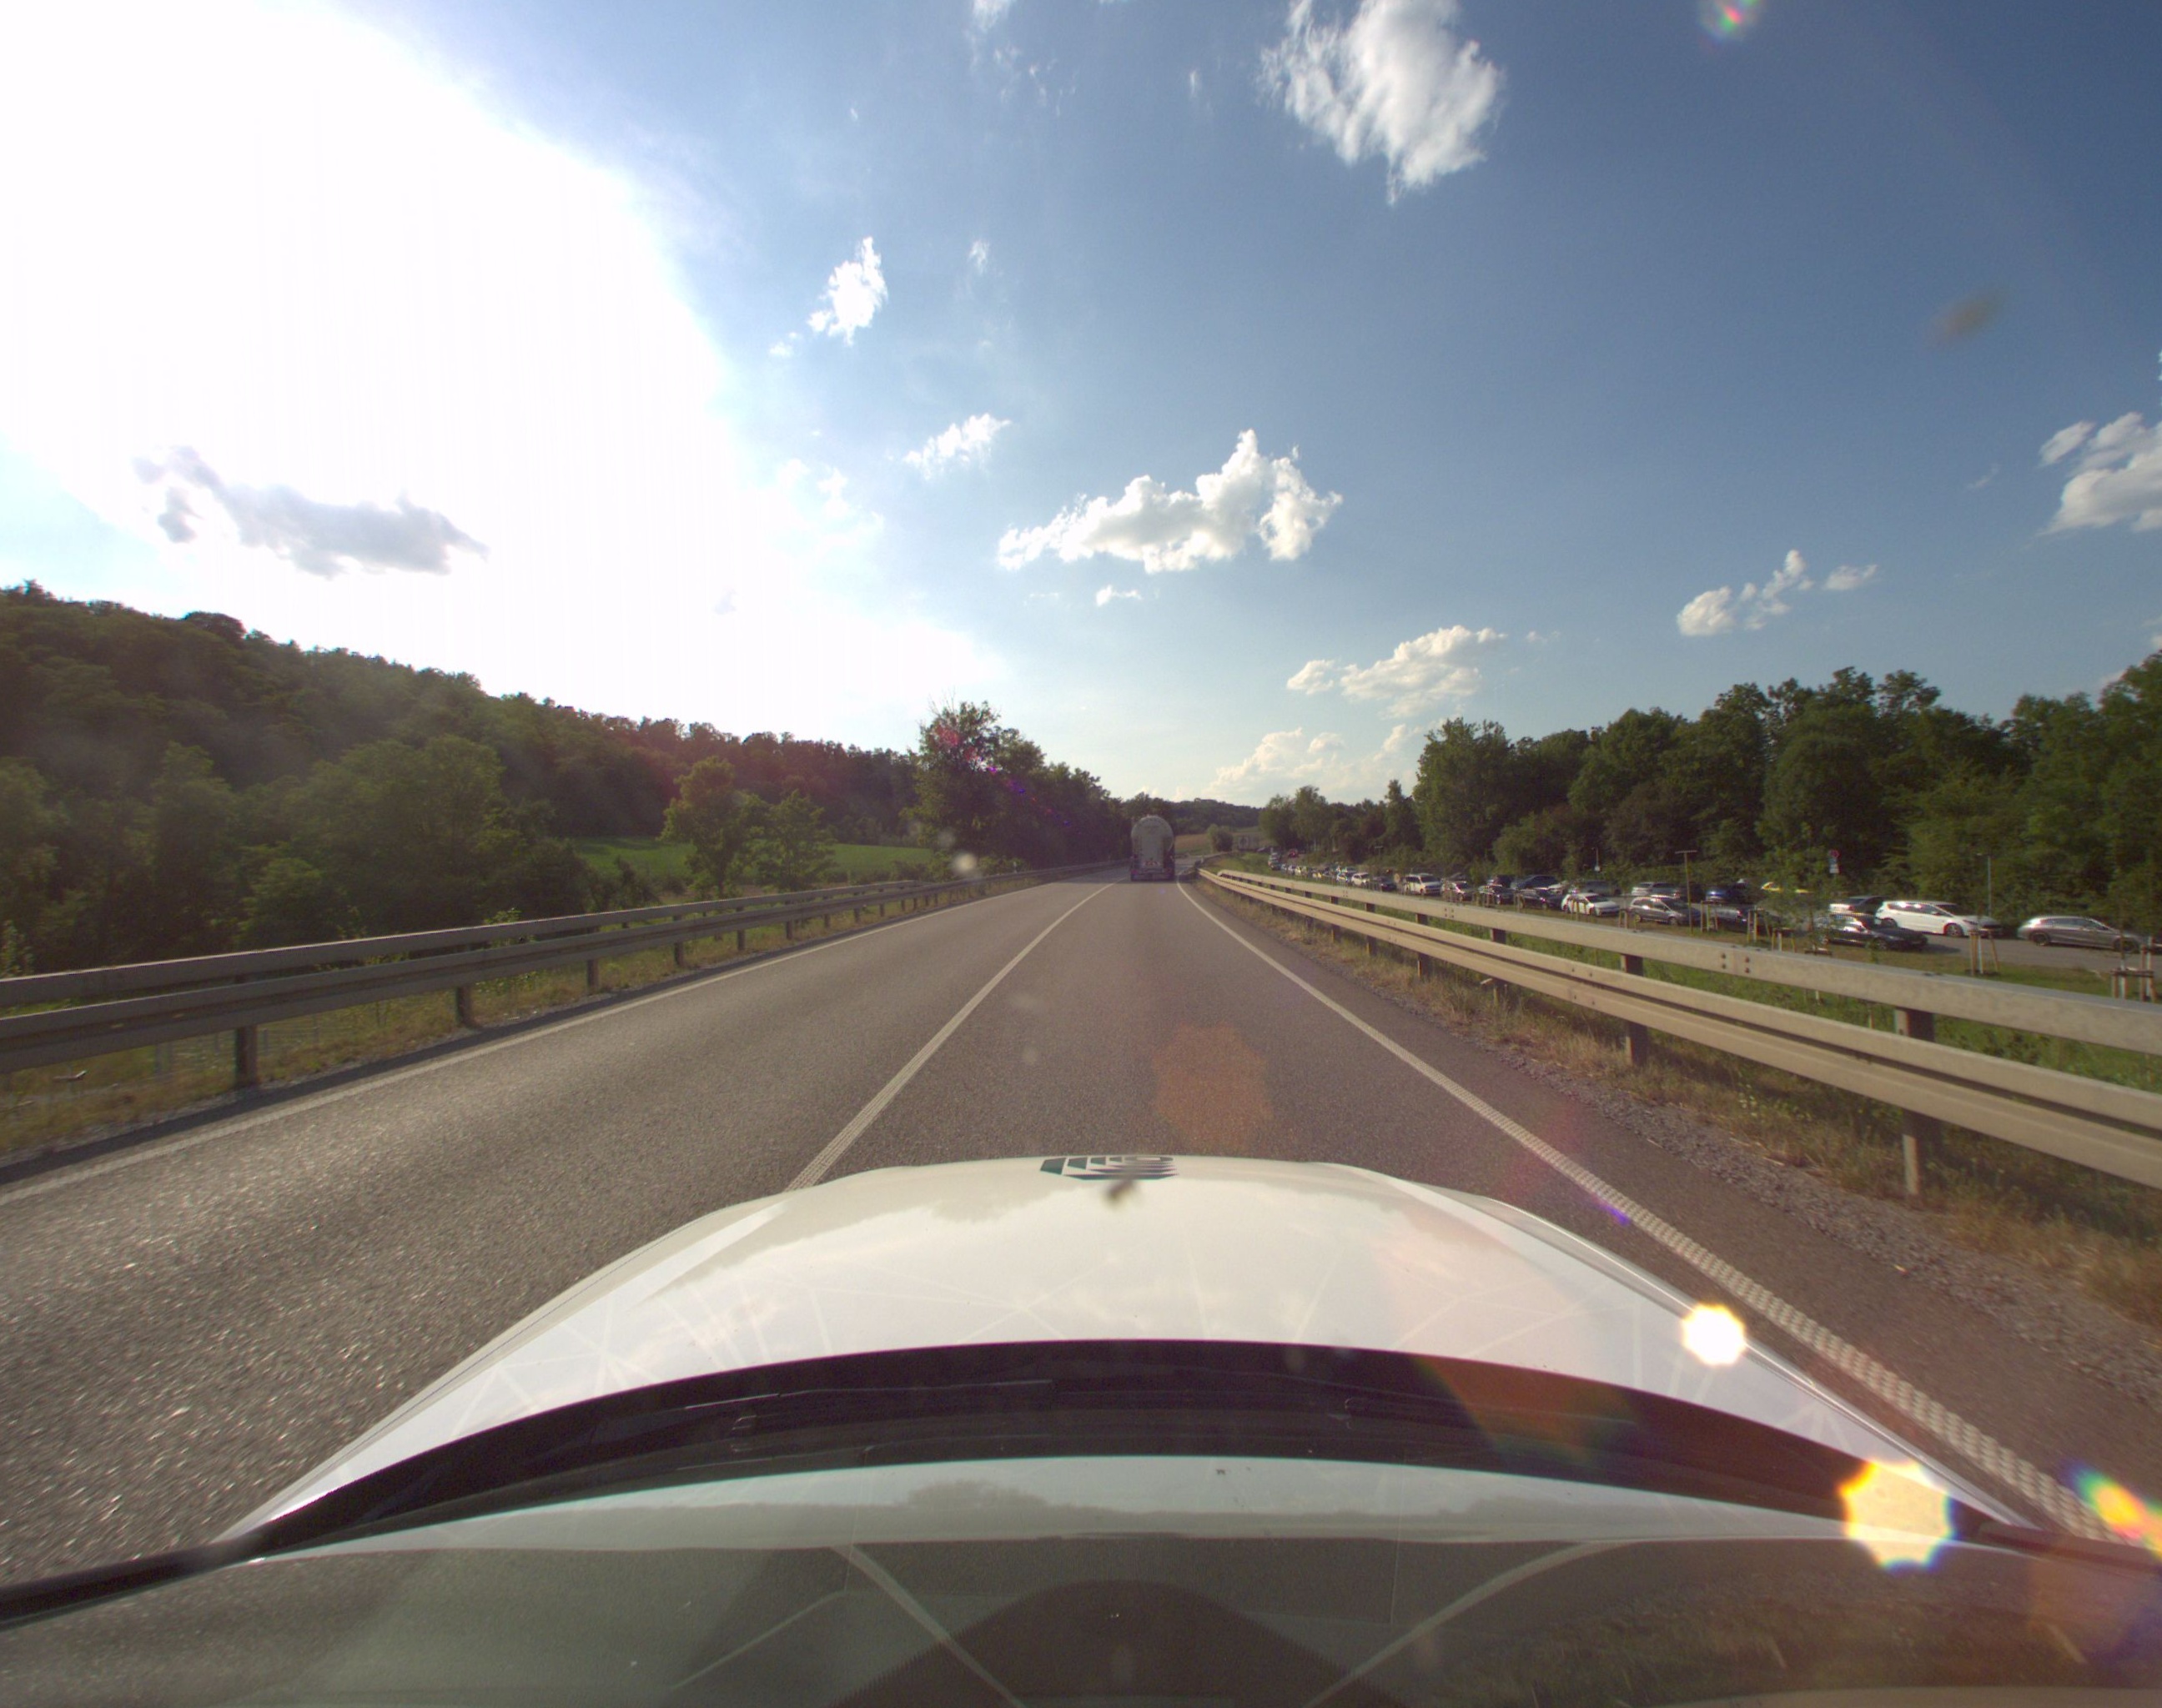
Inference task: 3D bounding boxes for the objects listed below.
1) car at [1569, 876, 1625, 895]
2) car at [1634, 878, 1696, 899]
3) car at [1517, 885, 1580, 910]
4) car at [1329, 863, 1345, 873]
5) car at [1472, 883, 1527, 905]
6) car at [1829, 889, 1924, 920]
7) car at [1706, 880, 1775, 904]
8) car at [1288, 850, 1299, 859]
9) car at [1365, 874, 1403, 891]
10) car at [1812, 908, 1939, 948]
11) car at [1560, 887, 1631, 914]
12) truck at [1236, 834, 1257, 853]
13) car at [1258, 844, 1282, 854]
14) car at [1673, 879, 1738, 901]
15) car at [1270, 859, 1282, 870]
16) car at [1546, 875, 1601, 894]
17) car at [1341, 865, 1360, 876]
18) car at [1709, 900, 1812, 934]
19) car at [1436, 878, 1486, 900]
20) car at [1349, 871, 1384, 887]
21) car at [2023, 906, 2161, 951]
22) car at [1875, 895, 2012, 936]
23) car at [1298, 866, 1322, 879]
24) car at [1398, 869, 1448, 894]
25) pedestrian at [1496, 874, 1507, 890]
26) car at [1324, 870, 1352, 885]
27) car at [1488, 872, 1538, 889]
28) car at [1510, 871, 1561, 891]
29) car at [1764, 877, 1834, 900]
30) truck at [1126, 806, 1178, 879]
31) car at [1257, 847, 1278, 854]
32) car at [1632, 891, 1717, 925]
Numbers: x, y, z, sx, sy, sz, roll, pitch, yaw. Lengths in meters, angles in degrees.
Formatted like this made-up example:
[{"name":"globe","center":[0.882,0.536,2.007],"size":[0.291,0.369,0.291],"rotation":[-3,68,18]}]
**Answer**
[{"name":"car","center":[44.718,2.711,70.629],"size":[4.236,1.456,1.611],"rotation":[-1,0,-12]},{"name":"car","center":[46.752,2.740,65.211],"size":[4.410,1.456,1.726],"rotation":[-2,1,-16]},{"name":"car","center":[35.654,3.283,62.242],"size":[1.818,1.482,4.381],"rotation":[-4,1,-9]},{"name":"car","center":[40.023,2.188,127.581],"size":[1.691,1.398,4.798],"rotation":[-5,0,10]},{"name":"car","center":[35.040,3.313,68.320],"size":[1.818,1.482,4.381],"rotation":[-4,1,-9]},{"name":"car","center":[45.822,2.896,46.933],"size":[4.228,1.456,1.614],"rotation":[-3,1,-6]},{"name":"car","center":[48.363,2.744,59.757],"size":[4.237,1.456,1.611],"rotation":[-3,1,-12]},{"name":"car","center":[45.850,0.058,175.833],"size":[1.879,1.686,5.105],"rotation":[-5,1,13]},{"name":"car","center":[33.089,3.071,89.029],"size":[1.889,1.482,4.773],"rotation":[-5,1,-5]},{"name":"car","center":[37.960,3.500,39.074],"size":[1.653,1.496,4.212],"rotation":[-2,-1,-8]},{"name":"car","center":[36.147,3.259,57.329],"size":[1.818,1.482,4.243],"rotation":[-4,1,-10]},{"name":"truck","center":[39.149,-2.532,191.949],"size":[3.157,4.227,13.237],"rotation":[-2,1,19]},{"name":"car","center":[43.419,-1.184,186.862],"size":[5.101,1.943,1.984],"rotation":[4,3,16]},{"name":"car","center":[47.712,2.717,62.255],"size":[4.236,1.456,1.611],"rotation":[-2,1,-12]},{"name":"car","center":[35.241,1.955,147.227],"size":[1.879,1.559,4.800],"rotation":[-5,1,13]},{"name":"car","center":[44.394,2.755,73.425],"size":[4.235,1.498,1.765],"rotation":[-1,1,-11]},{"name":"car","center":[39.166,2.407,118.219],"size":[1.693,1.510,3.950],"rotation":[-2,0,5]},{"name":"car","center":[37.893,3.464,45.530],"size":[1.818,1.401,4.243],"rotation":[-4,1,-10]},{"name":"car","center":[34.249,3.147,73.517],"size":[1.889,1.482,4.773],"rotation":[-5,1,-5]},{"name":"car","center":[33.232,2.887,95.011],"size":[1.889,1.559,4.773],"rotation":[-5,1,-5]},{"name":"car","center":[43.539,3.118,34.683],"size":[1.653,1.496,4.212],"rotation":[-2,-1,-8]},{"name":"car","center":[43.055,3.012,40.824],"size":[1.652,1.666,4.700],"rotation":[-2,-1,-5]},{"name":"car","center":[33.378,2.658,118.688],"size":[1.887,1.559,4.779],"rotation":[-5,1,-2]},{"name":"car","center":[33.644,2.679,80.372],"size":[2.116,2.017,5.369],"rotation":[-5,1,-5]},{"name":"pedestrian","center":[42.085,2.792,81.499],"size":[0.910,1.471,0.894],"rotation":[-4,1,28]},{"name":"car","center":[33.240,3.052,105.561],"size":[1.887,1.559,4.779],"rotation":[-5,1,-2]},{"name":"car","center":[44.007,2.697,83.011],"size":[4.228,1.604,1.829],"rotation":[-1,0,-7]},{"name":"car","center":[44.219,2.648,79.241],"size":[4.235,1.742,1.827],"rotation":[-1,1,-11]},{"name":"car","center":[52.992,2.539,60.162],"size":[1.498,1.456,3.655],"rotation":[-3,1,-17]},{"name":"truck","center":[4.815,-0.688,53.523],"size":[2.878,4.142,13.195],"rotation":[-1,0,6]},{"name":"car","center":[41.896,-0.821,183.161],"size":[4.311,1.399,1.715],"rotation":[2,2,-10]},{"name":"car","center":[37.035,3.323,50.962],"size":[1.818,1.658,4.243],"rotation":[-4,1,-10]}]
